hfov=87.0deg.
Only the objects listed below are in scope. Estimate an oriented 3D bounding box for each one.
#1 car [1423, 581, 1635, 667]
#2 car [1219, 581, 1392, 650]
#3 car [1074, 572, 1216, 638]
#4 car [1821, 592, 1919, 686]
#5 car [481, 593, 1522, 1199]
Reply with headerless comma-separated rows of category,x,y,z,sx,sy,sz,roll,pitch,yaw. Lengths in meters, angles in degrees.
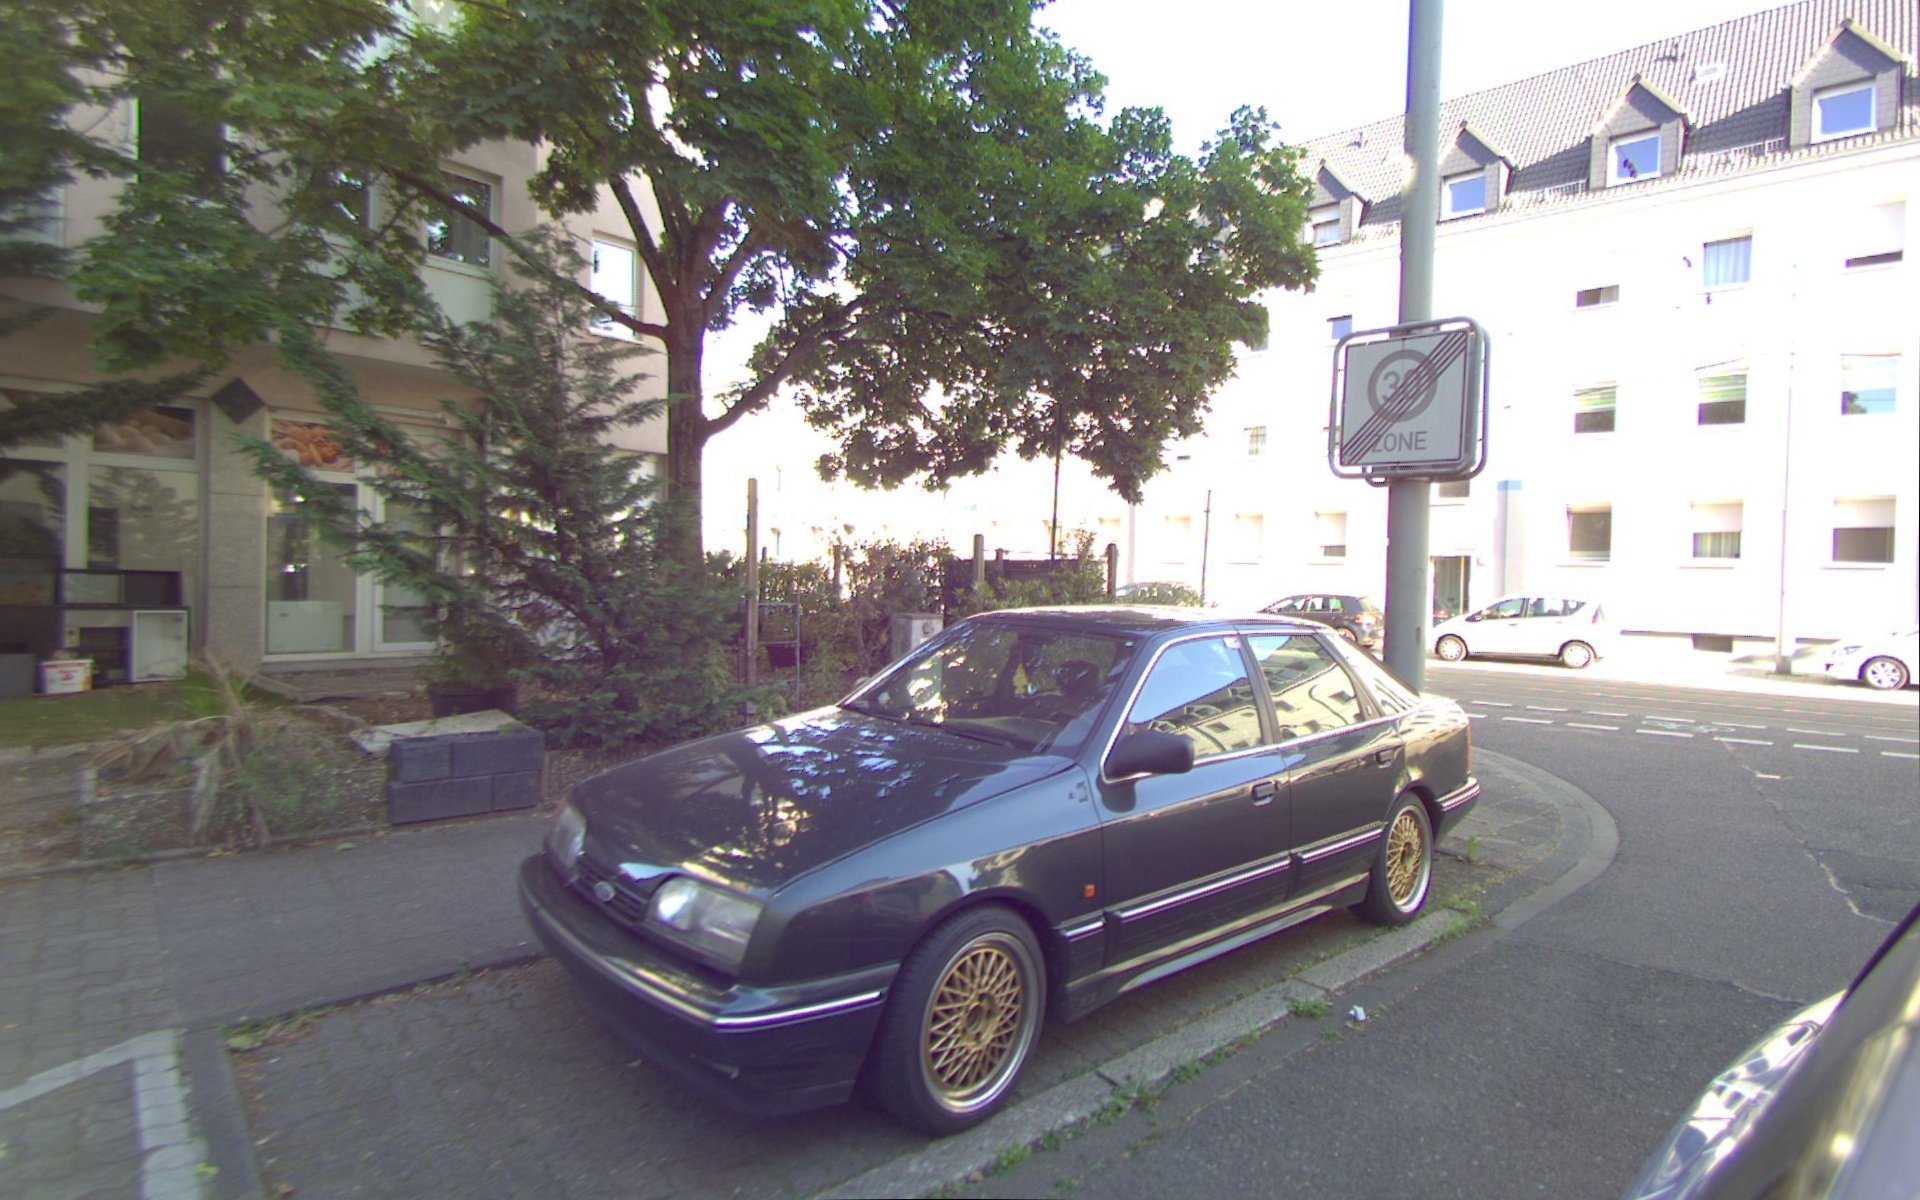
car,12.832,0.463,22.978,3.892,1.589,1.733,3,5,44
car,8.965,0.348,26.435,3.988,1.556,1.575,2,3,39
car,5.416,0.085,29.959,3.891,1.689,1.641,3,5,43
car,18.247,0.740,17.926,4.493,1.590,1.660,3,3,42
car,0.607,0.695,4.295,4.491,1.405,1.711,0,1,-42
